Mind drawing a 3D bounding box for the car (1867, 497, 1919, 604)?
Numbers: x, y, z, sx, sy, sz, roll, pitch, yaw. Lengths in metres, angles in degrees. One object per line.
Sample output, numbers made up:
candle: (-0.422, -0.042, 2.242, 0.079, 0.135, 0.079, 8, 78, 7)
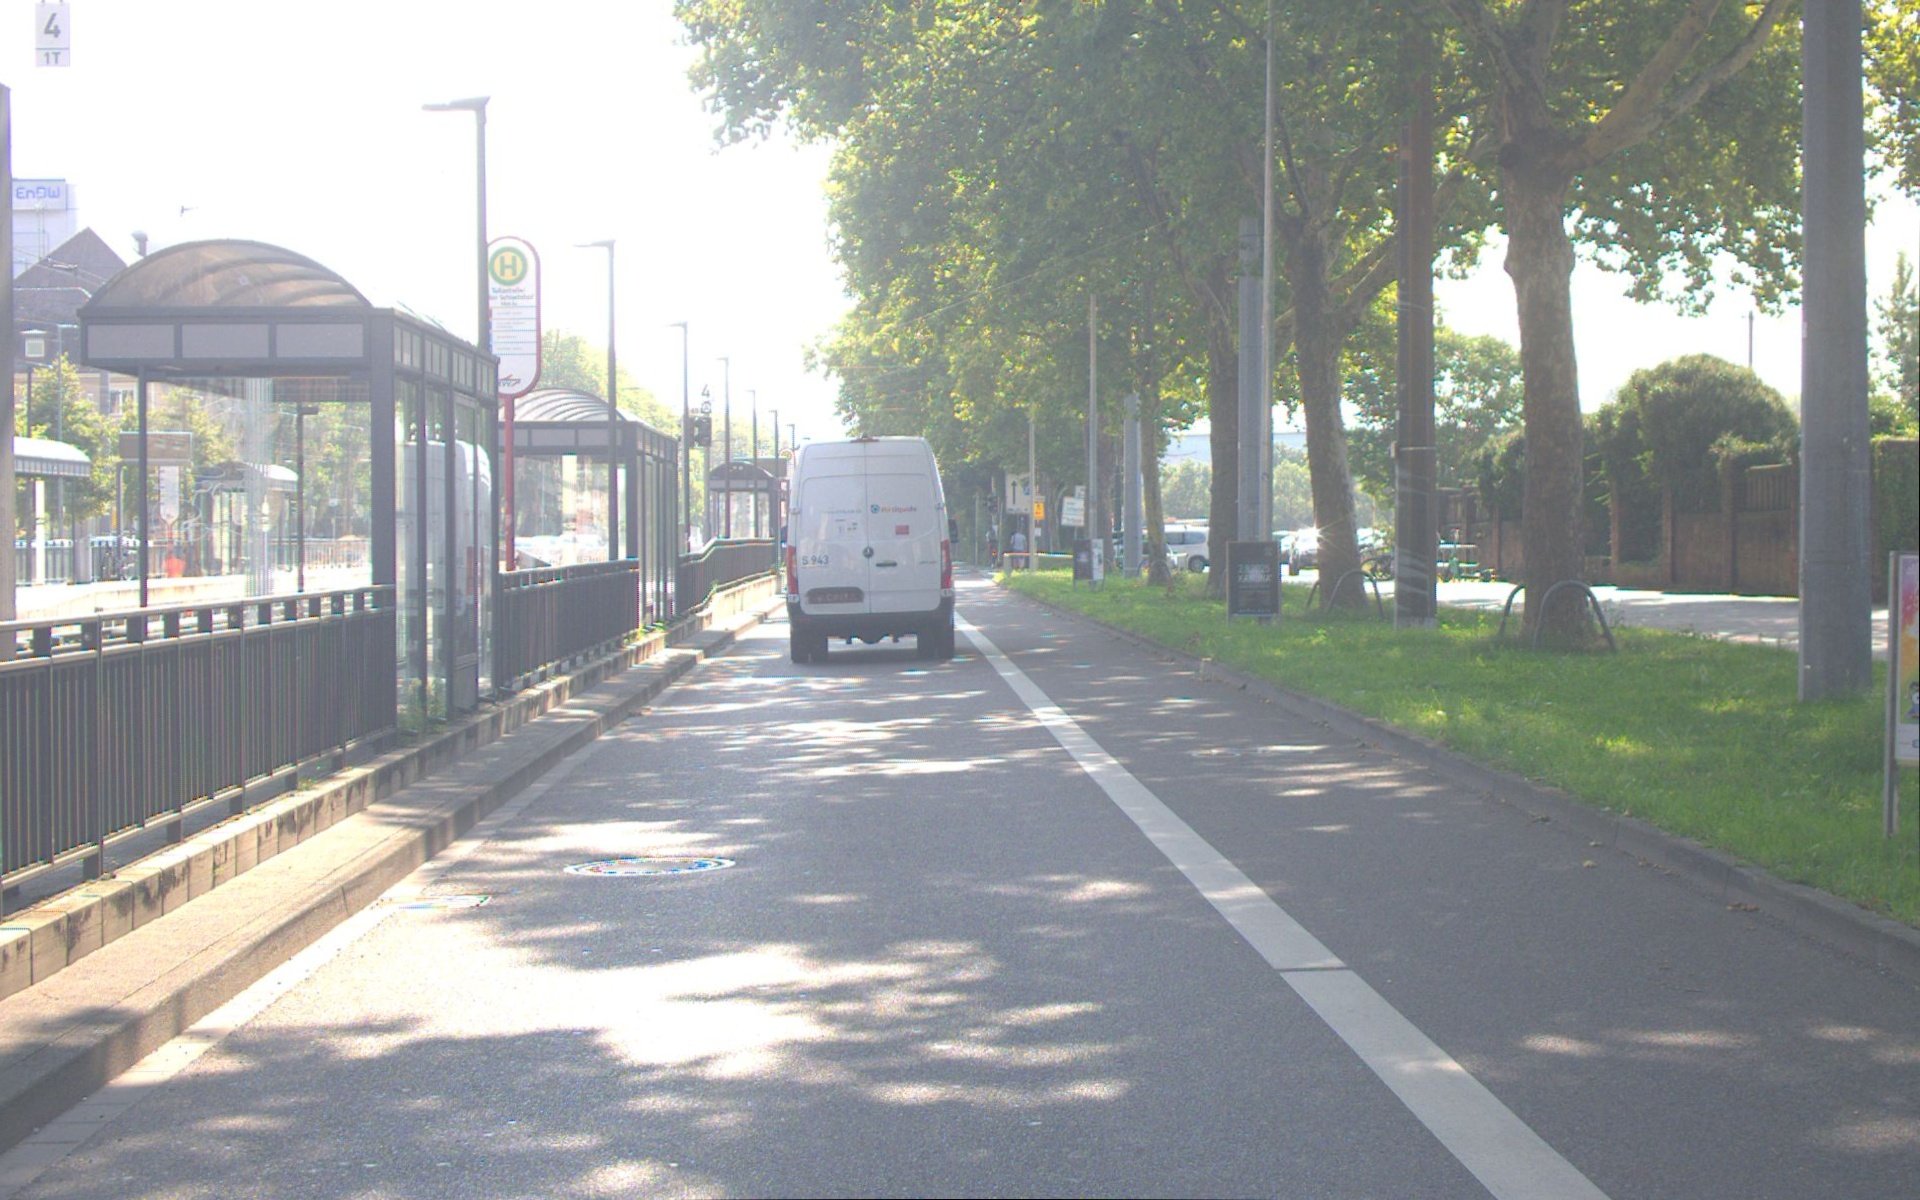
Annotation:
car: (18.124, -0.897, 60.238, 4.001, 1.836, 1.562, -1, 1, -3)

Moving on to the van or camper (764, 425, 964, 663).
van or camper: (-1.248, -0.697, 42.099, 2.115, 2.673, 5.251, -2, 1, -4)

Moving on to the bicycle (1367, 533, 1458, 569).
bicycle: (11.199, -1.221, 85.146, 2.180, 0.844, 0.503, -1, 1, -1)

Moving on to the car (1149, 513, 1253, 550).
car: (9.685, -2.741, 138.163, 3.986, 1.371, 2.000, 1, 0, -1)

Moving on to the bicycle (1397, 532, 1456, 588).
bicycle: (8.618, -0.748, 63.568, 0.681, 1.001, 2.218, -1, 1, -2)

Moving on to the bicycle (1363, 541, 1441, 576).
bicycle: (11.298, -1.062, 87.964, 1.932, 0.844, 0.372, -1, 1, -1)
